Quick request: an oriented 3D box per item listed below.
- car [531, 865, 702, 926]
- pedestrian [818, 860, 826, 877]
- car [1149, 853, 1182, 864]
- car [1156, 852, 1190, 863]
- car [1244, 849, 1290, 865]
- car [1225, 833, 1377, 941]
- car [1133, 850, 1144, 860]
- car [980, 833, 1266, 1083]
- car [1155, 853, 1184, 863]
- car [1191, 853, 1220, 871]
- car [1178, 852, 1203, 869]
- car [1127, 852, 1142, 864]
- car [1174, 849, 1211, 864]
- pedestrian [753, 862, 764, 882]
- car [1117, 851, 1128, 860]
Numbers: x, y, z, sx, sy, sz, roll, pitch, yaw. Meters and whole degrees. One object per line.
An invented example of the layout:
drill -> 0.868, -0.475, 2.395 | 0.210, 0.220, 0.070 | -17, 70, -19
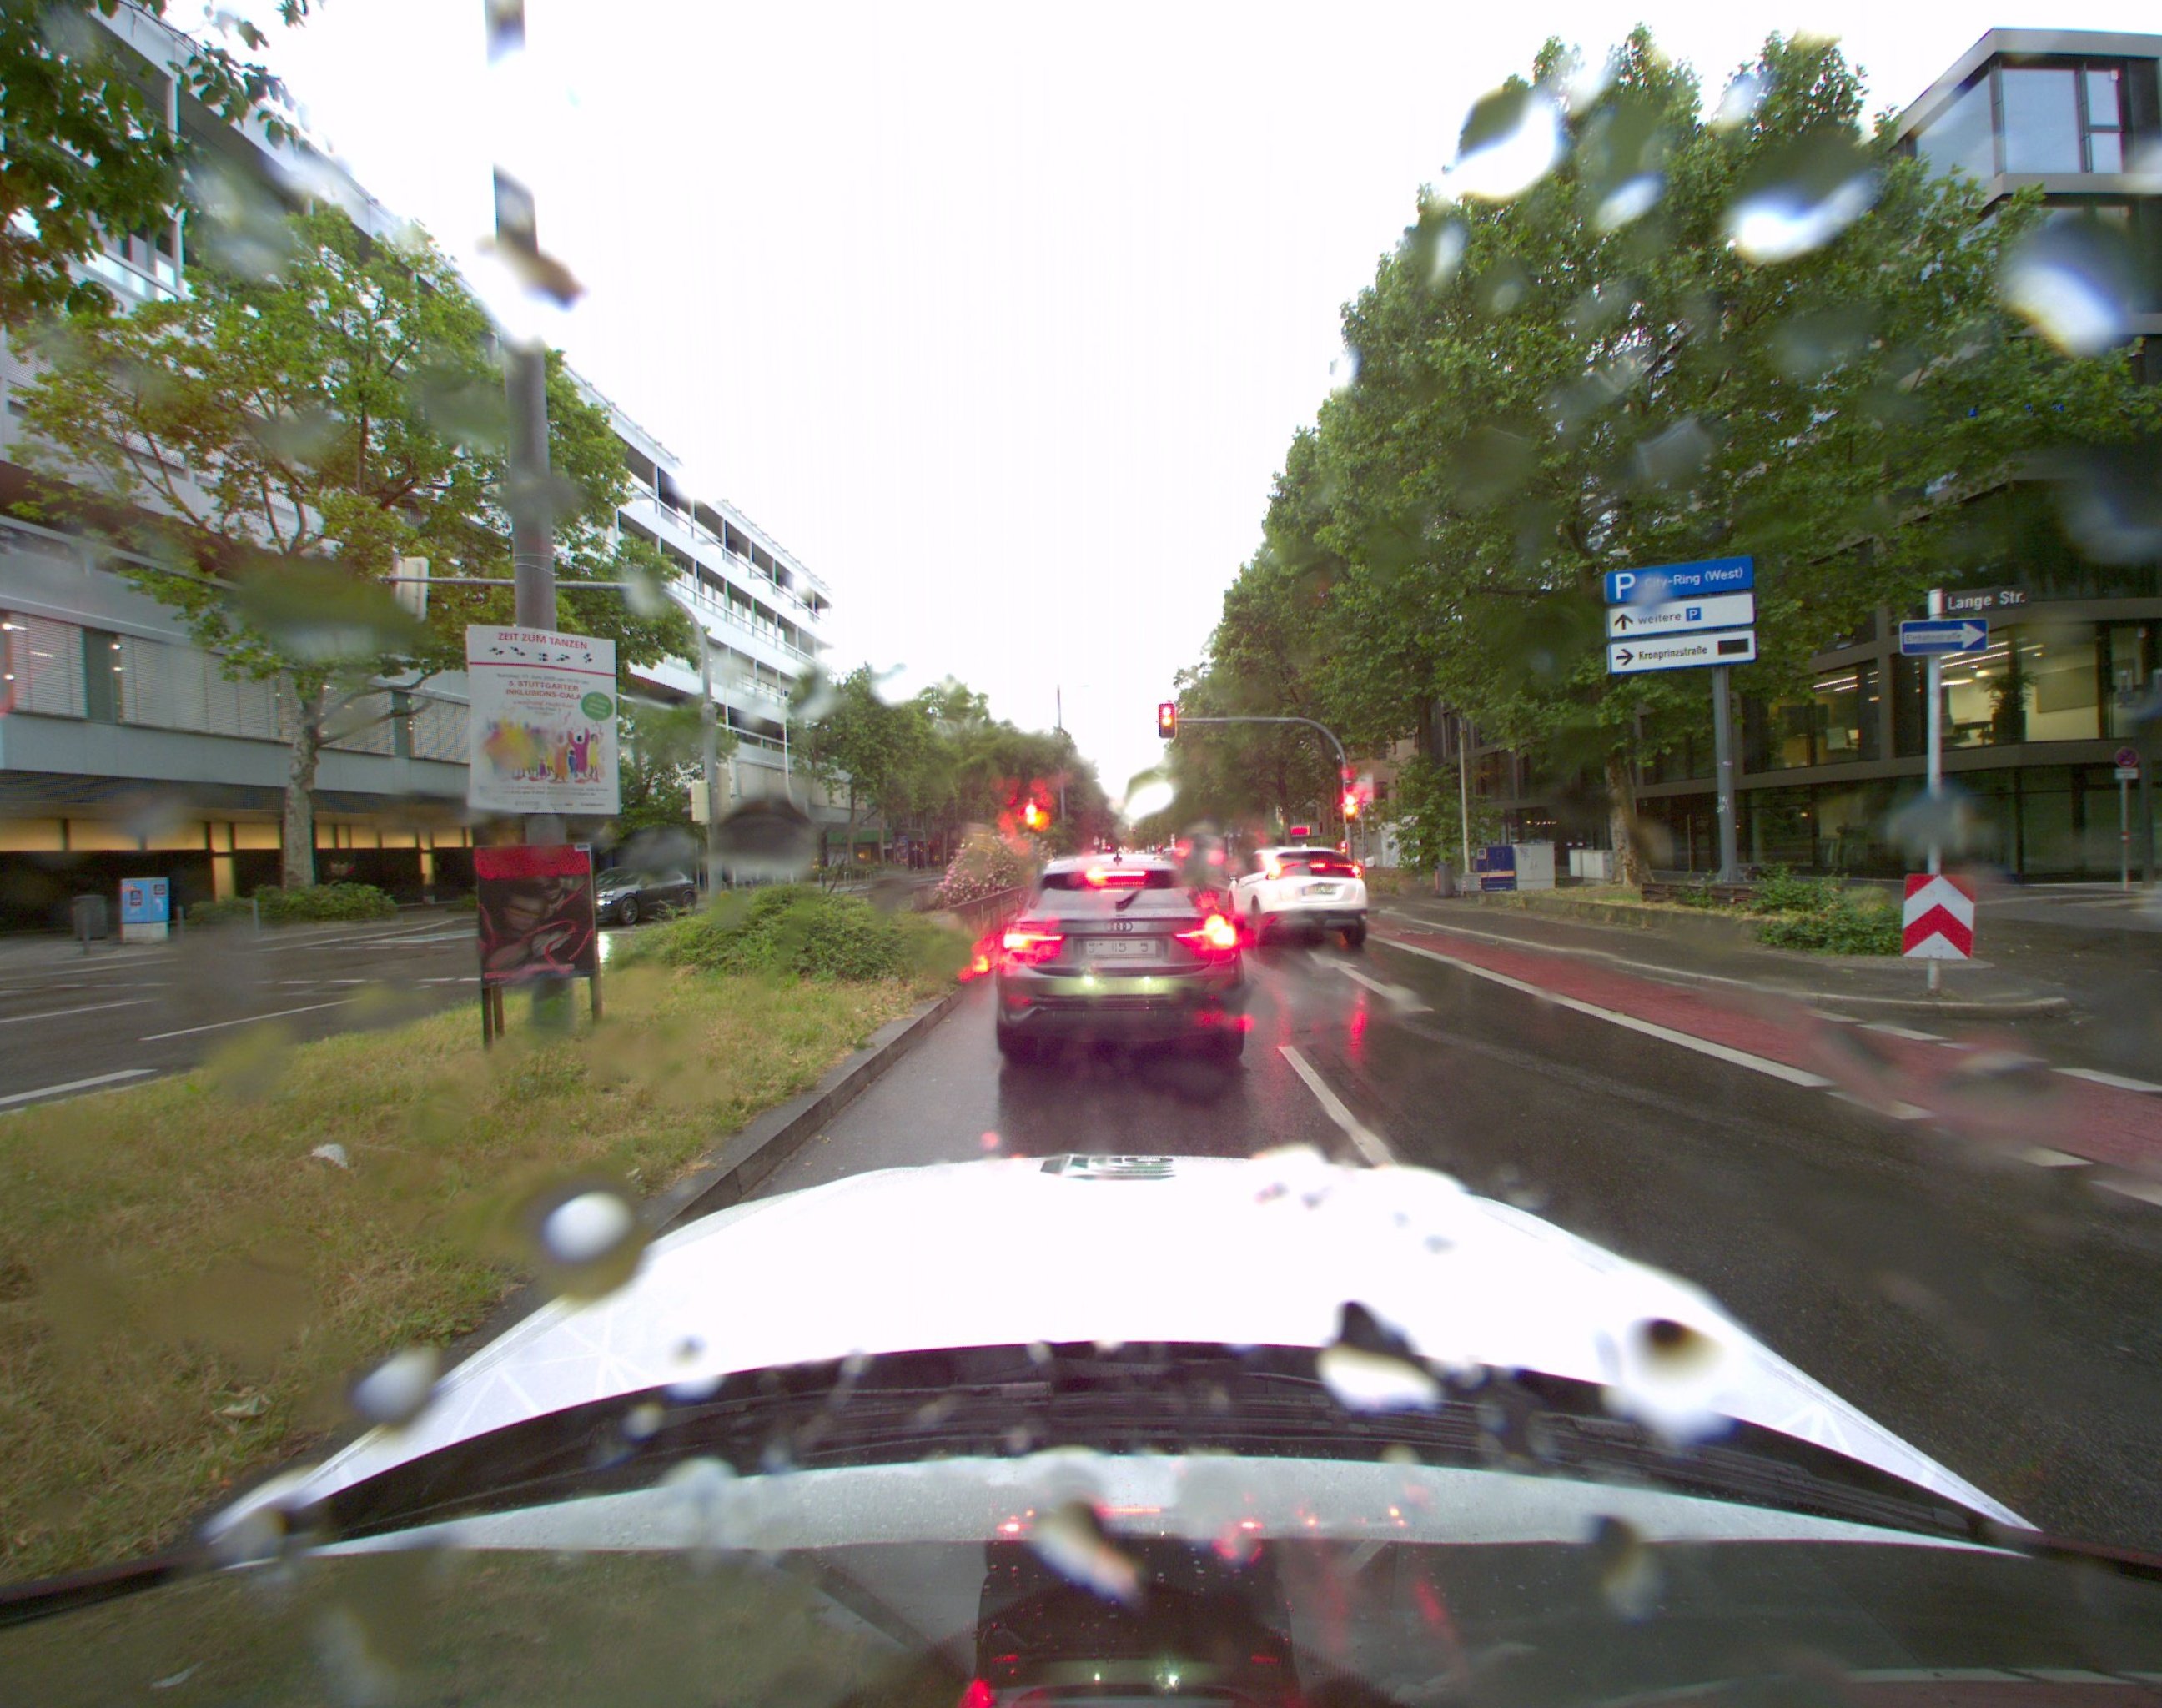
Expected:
car -> -13.358, 1.141, 23.845 | 1.900, 1.584, 4.754 | 0, -1, 6
pedestrian -> -21.869, 1.224, 68.730 | 0.609, 1.482, 0.573 | 0, -1, -9
car -> 13.249, 0.692, 127.668 | 4.594, 1.706, 2.012 | -1, -1, 30
car -> 13.910, 0.547, 123.161 | 4.594, 1.706, 2.012 | -1, -1, 30
car -> 13.290, 0.229, 58.237 | 2.856, 1.074, 1.465 | -1, -1, 33
car -> 3.851, 0.551, 14.974 | 1.870, 1.697, 4.002 | 0, -1, 3
car -> 10.716, 0.200, 150.943 | 1.985, 1.651, 4.003 | 0, -1, 3
car -> 0.335, 0.687, 7.339 | 1.842, 1.602, 4.001 | -1, 0, 2
car -> 15.294, 0.767, 140.437 | 4.594, 1.706, 2.012 | -1, -1, 30
car -> 10.416, 0.646, 68.426 | 1.865, 1.421, 4.614 | 0, 0, 3
car -> 10.618, 0.617, 79.083 | 1.723, 1.571, 4.070 | 0, -1, -2
car -> 7.557, 0.593, 114.847 | 1.986, 1.726, 4.002 | 0, -1, 2
car -> 14.924, 0.376, 108.899 | 4.548, 2.014, 1.980 | -1, -1, 41
pedestrian -> -22.374, 1.277, 56.488 | 0.637, 1.380, 0.473 | 0, -1, -9
car -> 7.519, 0.318, 147.656 | 1.889, 1.599, 3.940 | 0, -1, 2
